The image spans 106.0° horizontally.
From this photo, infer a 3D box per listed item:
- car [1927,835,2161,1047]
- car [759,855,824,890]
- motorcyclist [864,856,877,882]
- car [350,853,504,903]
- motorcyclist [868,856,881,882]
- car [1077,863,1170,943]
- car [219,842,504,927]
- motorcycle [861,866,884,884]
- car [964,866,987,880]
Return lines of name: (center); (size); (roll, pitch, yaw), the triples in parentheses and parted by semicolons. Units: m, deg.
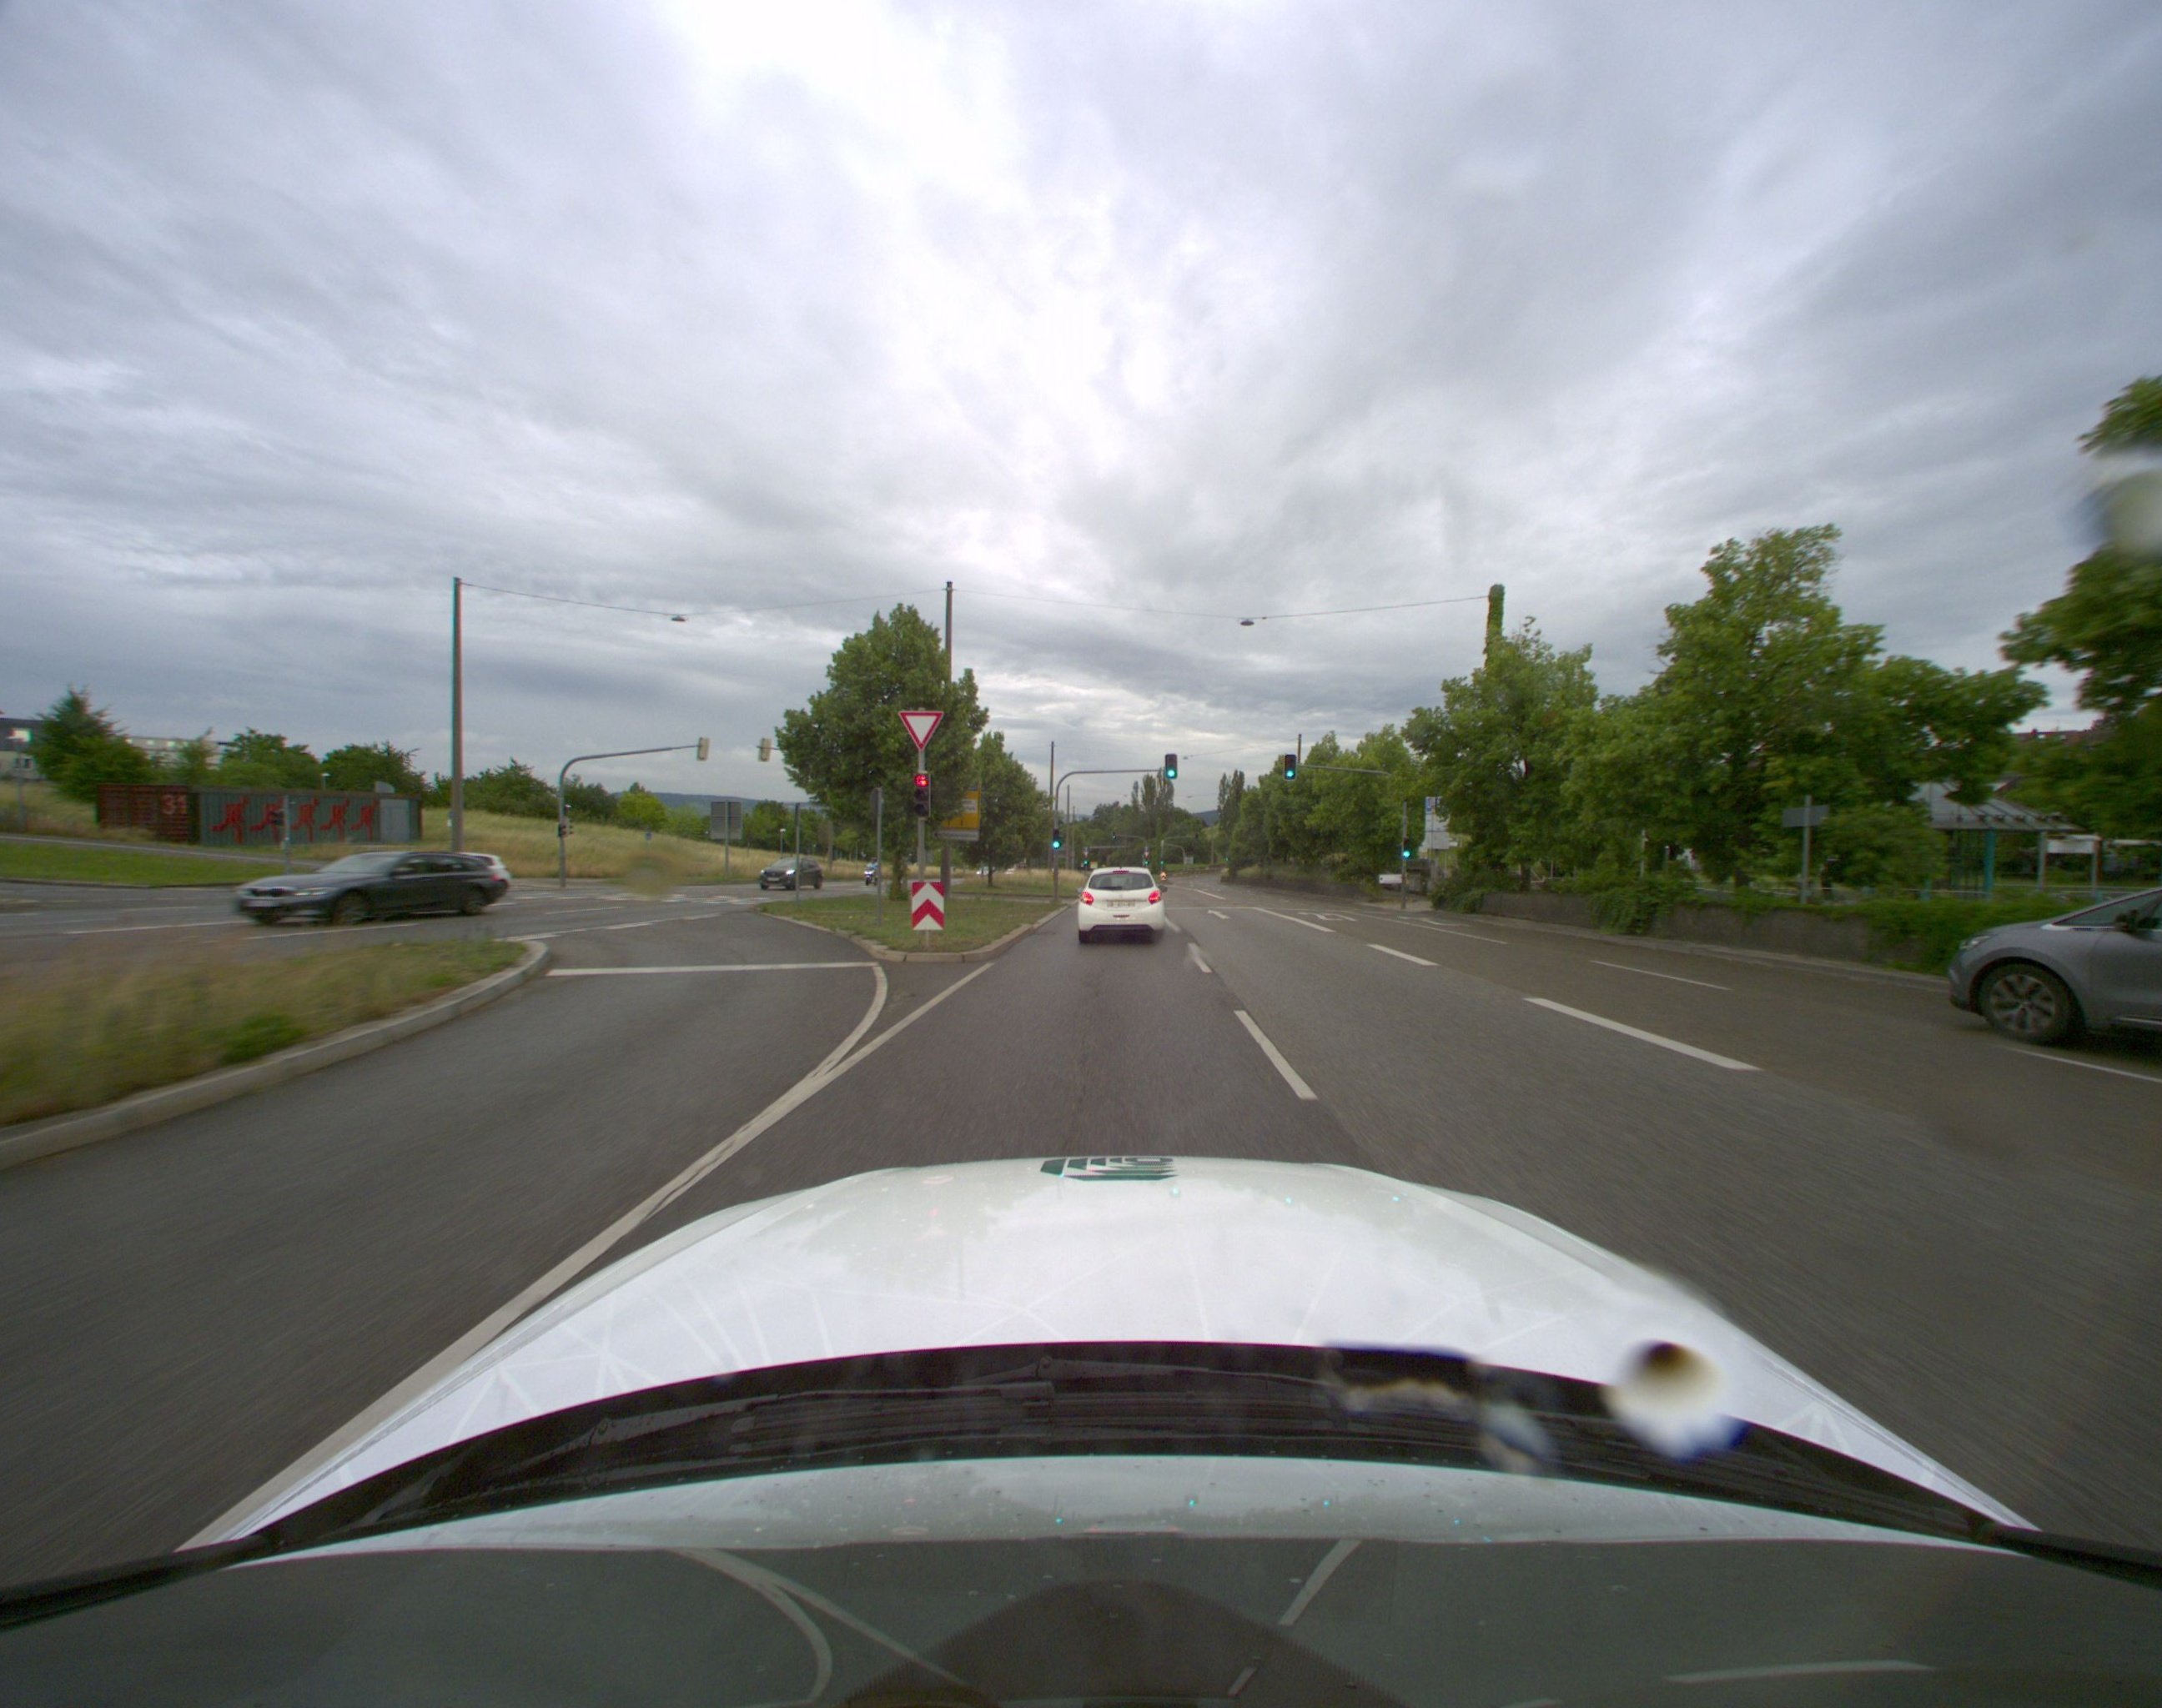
car: (9.309, 0.736, 5.838); (1.719, 1.648, 4.628); (2, 2, 2)
car: (-13.499, 0.868, 38.191); (1.531, 1.504, 3.665); (1, -1, 3)
motorcyclist: (-12.757, 0.911, 49.394); (0.580, 1.596, 0.644); (1, 0, 2)
car: (-20.571, 0.745, 25.844); (1.644, 1.463, 3.777); (1, -1, 3)
motorcyclist: (-12.714, 0.922, 50.159); (0.610, 1.581, 0.582); (1, 0, 2)
car: (0.890, 0.944, 17.052); (1.701, 1.440, 3.693); (-1, 0, 3)
car: (-14.529, 0.575, 16.882); (1.743, 1.504, 4.467); (1, -1, 3)
motorcycle: (-12.742, 1.259, 49.841); (0.614, 1.050, 2.504); (1, 0, 2)
car: (-11.156, 1.997, 86.652); (1.531, 1.389, 3.933); (1, -1, 6)
